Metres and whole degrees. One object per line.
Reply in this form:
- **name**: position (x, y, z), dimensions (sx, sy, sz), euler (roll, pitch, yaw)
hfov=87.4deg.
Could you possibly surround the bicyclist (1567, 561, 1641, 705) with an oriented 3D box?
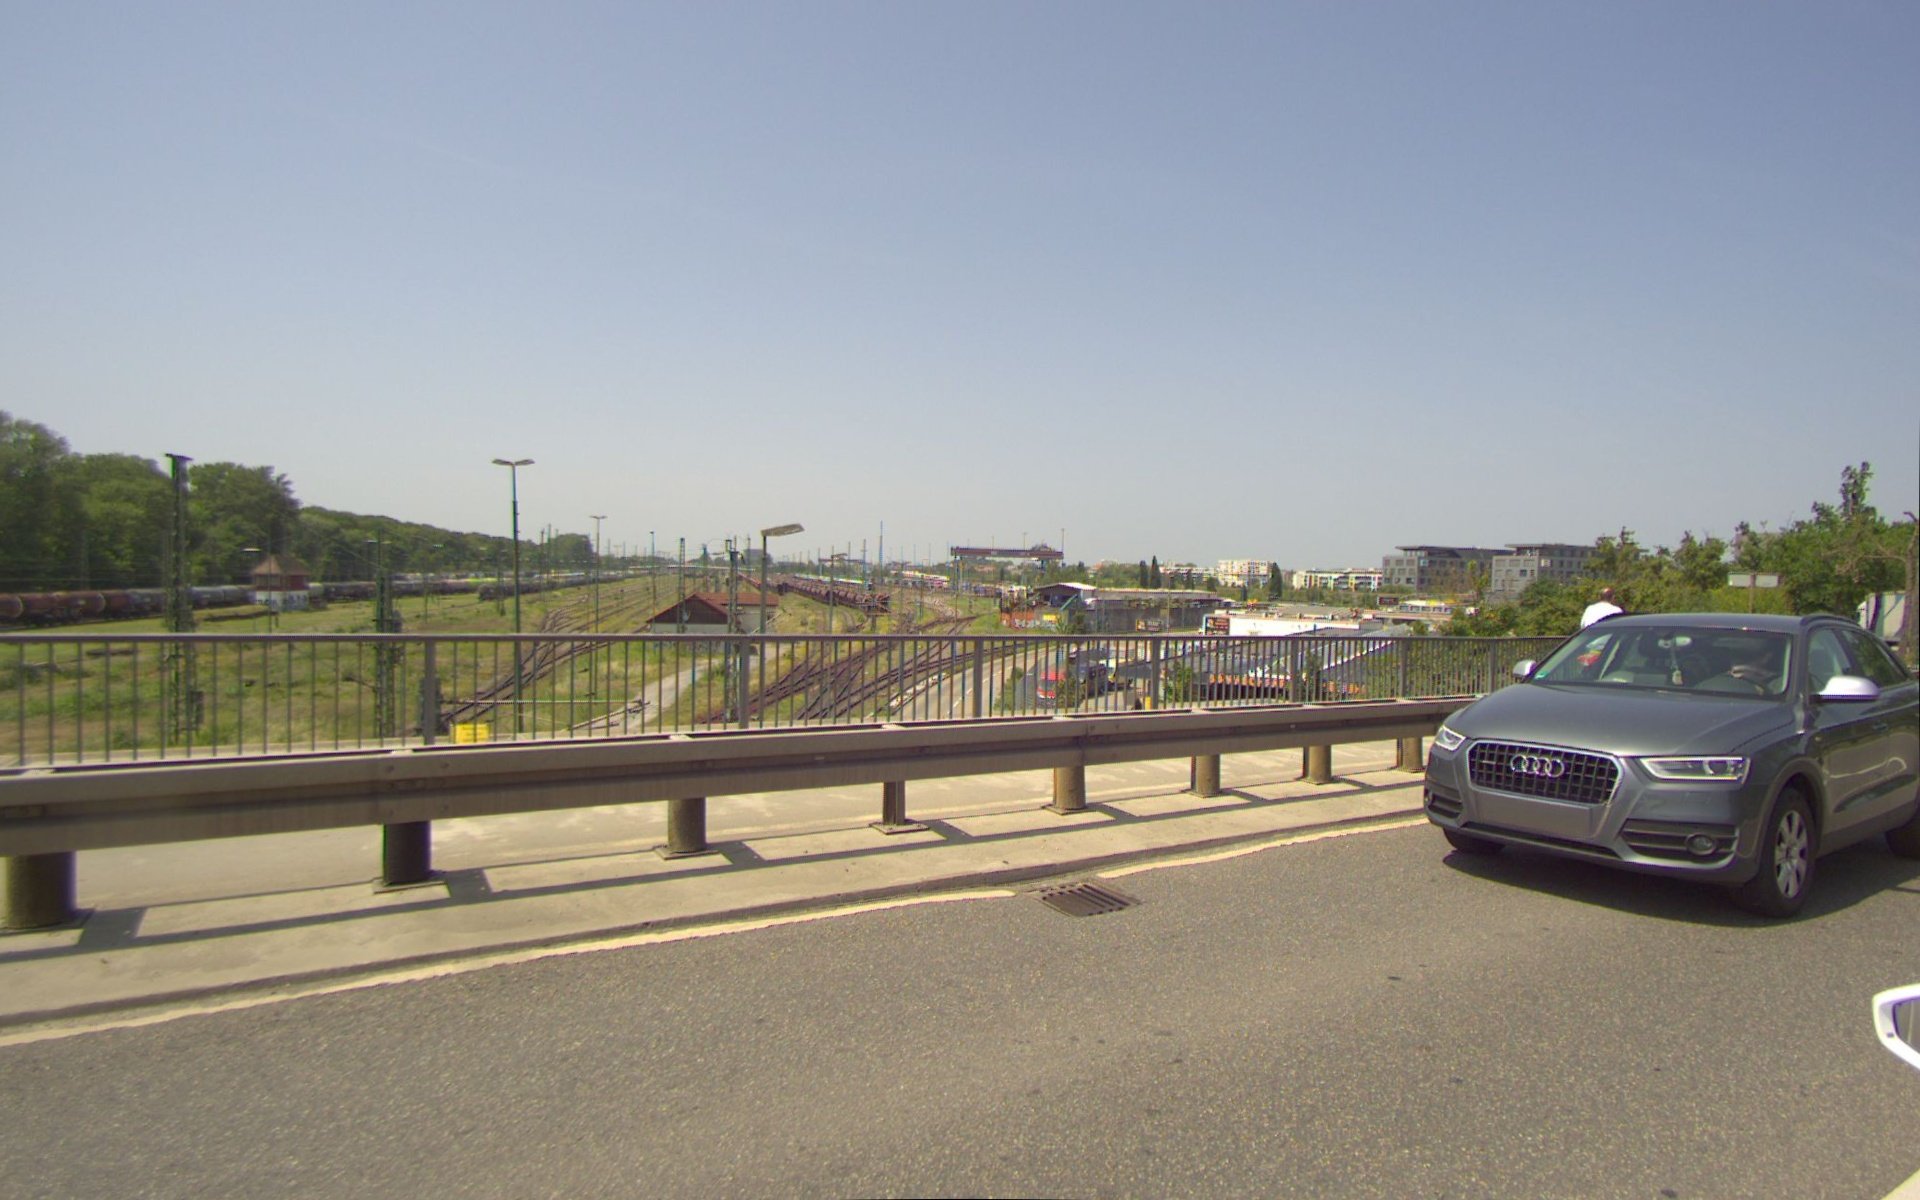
- **bicyclist**: position (8.857, 0.433, 13.815), dimensions (0.705, 1.911, 0.620), euler (0, 1, -36)

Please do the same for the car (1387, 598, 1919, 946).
- **car**: position (4.789, 0.782, 6.472), dimensions (4.151, 1.557, 1.811), euler (0, 1, -34)

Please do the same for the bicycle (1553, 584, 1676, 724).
- **bicycle**: position (9.183, 0.708, 14.066), dimensions (2.159, 1.826, 0.693), euler (0, 1, -36)

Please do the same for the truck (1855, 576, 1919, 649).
- **truck**: position (61.450, 0.765, 65.228), dimensions (3.520, 4.500, 6.503), euler (1, 1, 29)

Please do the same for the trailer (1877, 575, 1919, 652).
- **trailer**: position (58.235, 0.784, 59.294), dimensions (3.517, 4.443, 11.418), euler (1, 1, 30)
